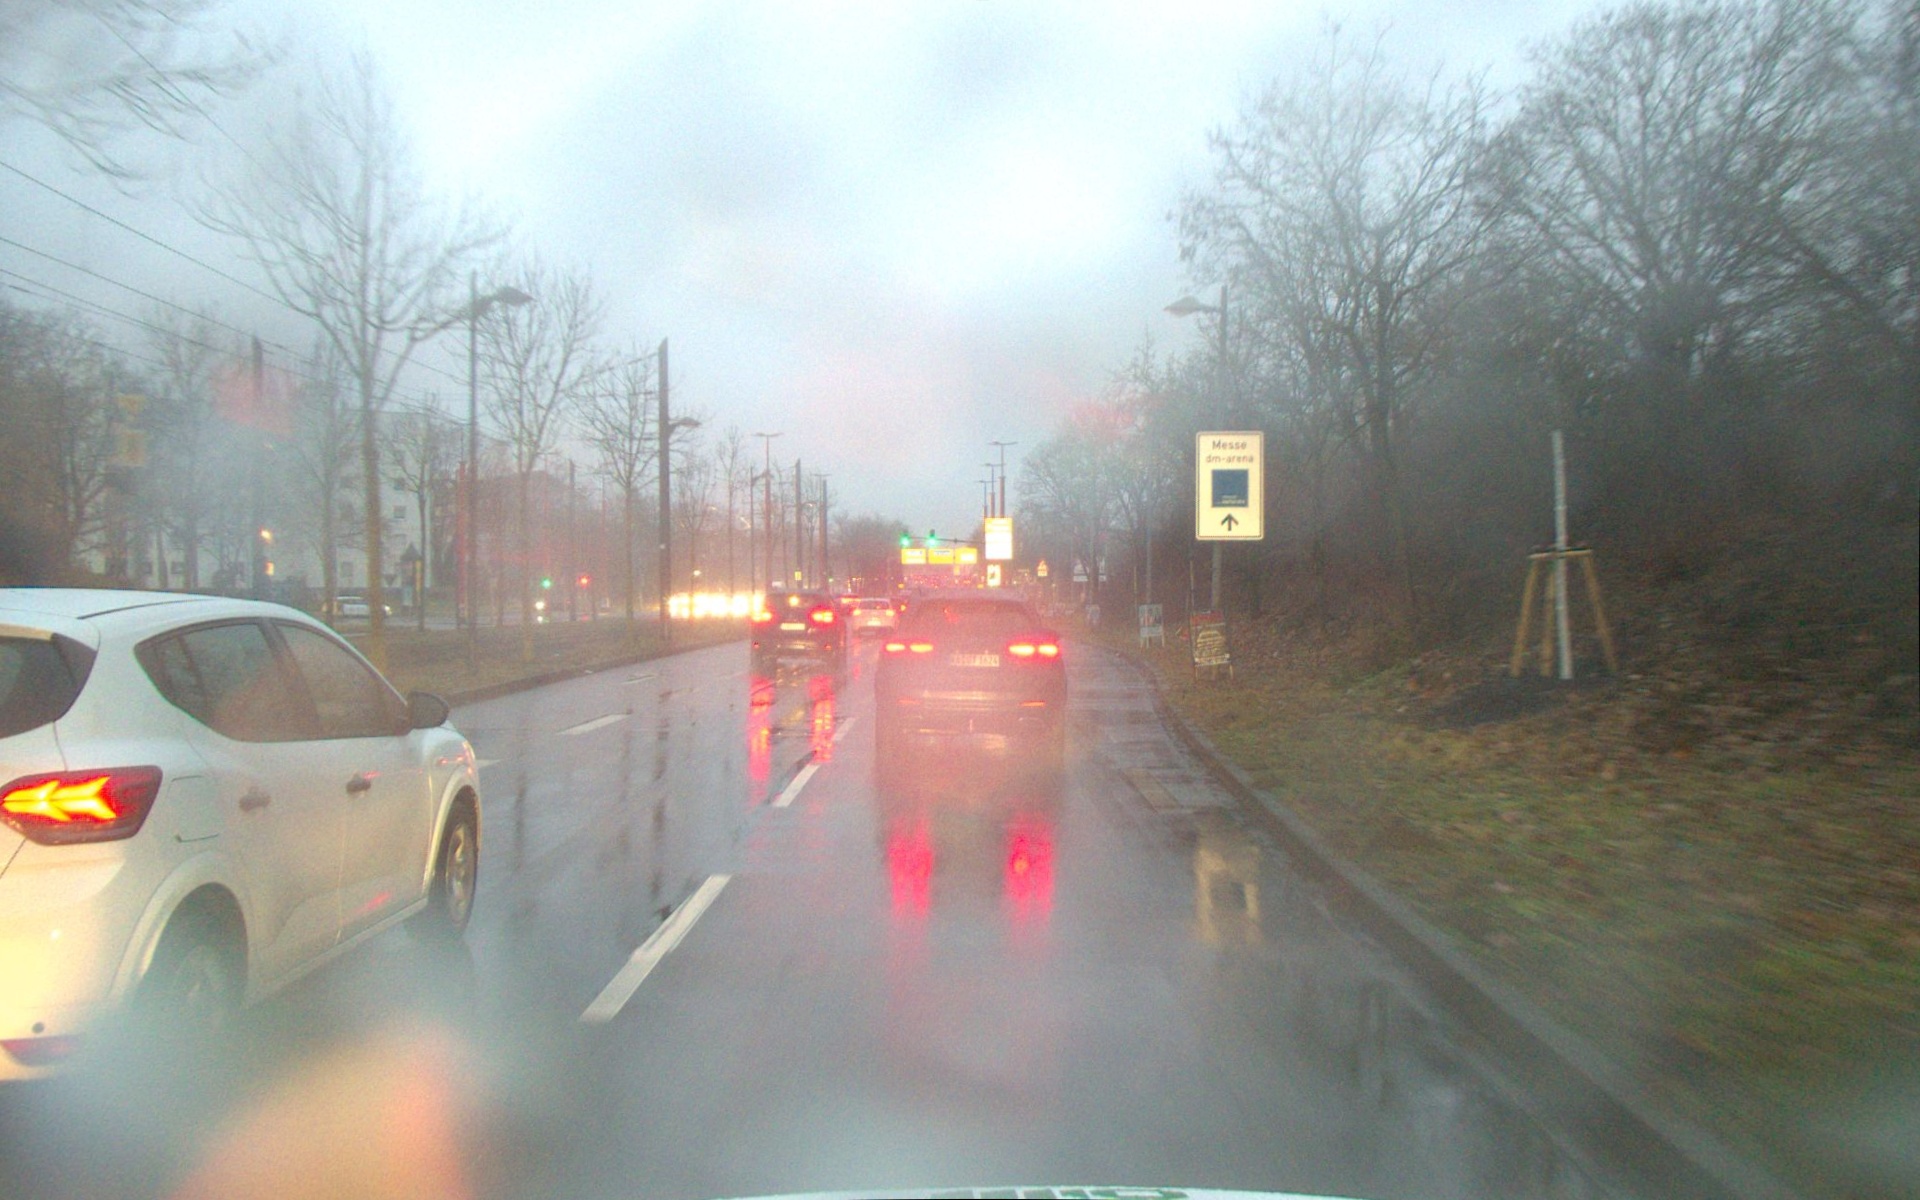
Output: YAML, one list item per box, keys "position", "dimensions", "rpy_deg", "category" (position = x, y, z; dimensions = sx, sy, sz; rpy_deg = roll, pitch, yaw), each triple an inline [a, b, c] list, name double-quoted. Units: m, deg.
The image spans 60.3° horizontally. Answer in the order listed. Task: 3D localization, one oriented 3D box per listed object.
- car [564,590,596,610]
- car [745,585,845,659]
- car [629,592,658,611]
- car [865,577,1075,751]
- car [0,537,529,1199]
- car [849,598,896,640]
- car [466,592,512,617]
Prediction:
- position: [-34.122, 0.028, 148.666]
  dimensions: [1.953, 1.687, 3.999]
  rpy_deg: [1, -1, -1]
  category: "car"
- position: [-3.477, 0.432, 35.455]
  dimensions: [1.842, 1.485, 3.999]
  rpy_deg: [0, 0, -2]
  category: "car"
- position: [-29.814, 0.144, 155.987]
  dimensions: [1.953, 1.687, 3.999]
  rpy_deg: [1, -1, -1]
  category: "car"
- position: [0.064, 0.595, 17.568]
  dimensions: [1.957, 1.612, 3.999]
  rpy_deg: [1, 0, -1]
  category: "car"
- position: [-2.851, 0.632, 5.817]
  dimensions: [1.674, 1.552, 4.133]
  rpy_deg: [0, 0, -1]
  category: "car"
- position: [-3.376, 0.728, 64.580]
  dimensions: [1.674, 1.585, 3.995]
  rpy_deg: [0, 0, -1]
  category: "car"
- position: [-32.157, 0.320, 112.953]
  dimensions: [1.953, 1.687, 3.999]
  rpy_deg: [1, -1, -1]
  category: "car"
